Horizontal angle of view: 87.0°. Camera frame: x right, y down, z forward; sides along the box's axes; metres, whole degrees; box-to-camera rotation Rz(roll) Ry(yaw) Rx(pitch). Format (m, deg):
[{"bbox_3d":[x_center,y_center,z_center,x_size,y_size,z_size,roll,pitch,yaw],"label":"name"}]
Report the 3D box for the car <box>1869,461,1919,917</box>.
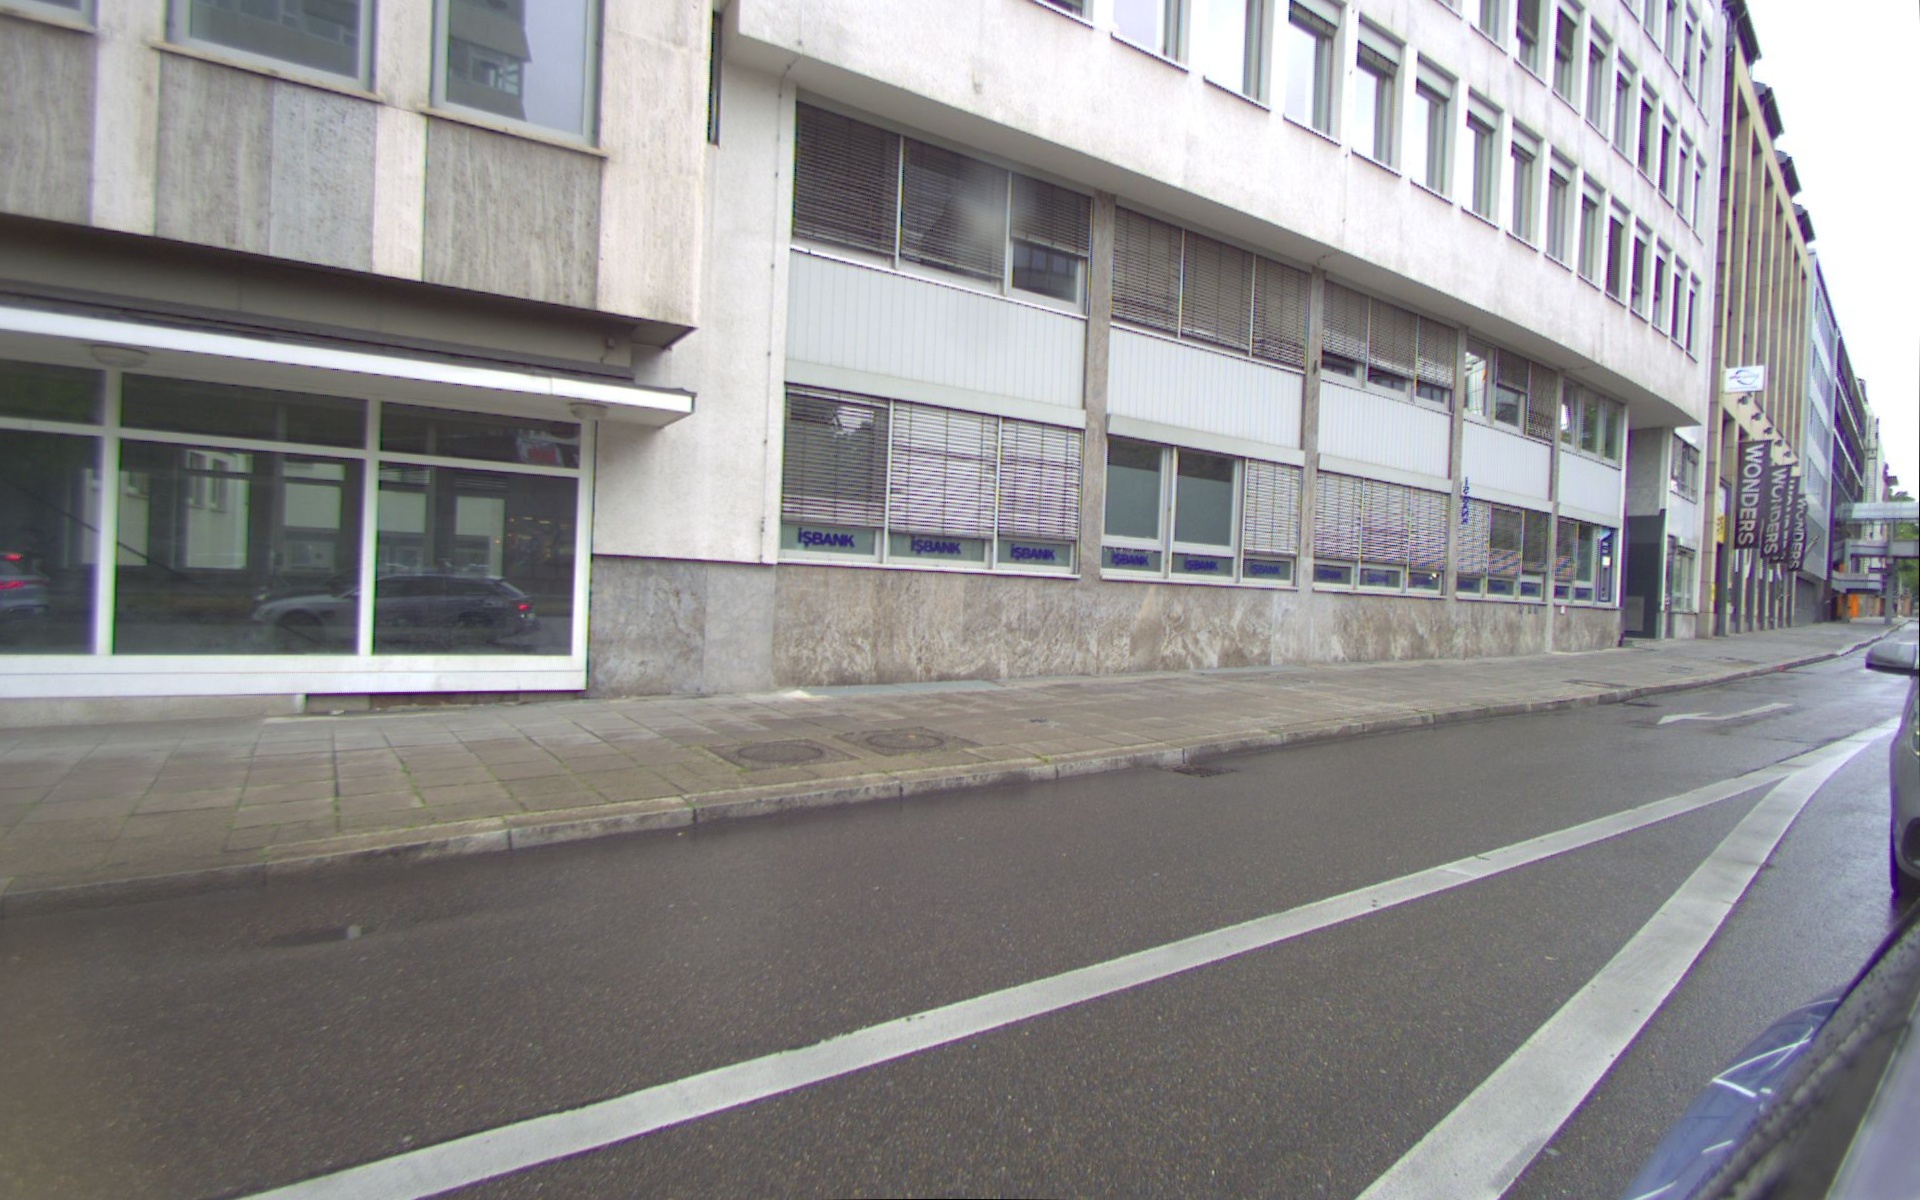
[{"bbox_3d":[6.743,0.424,5.566,4.956,2.051,2.160,0,0,-43],"label":"car"}]
